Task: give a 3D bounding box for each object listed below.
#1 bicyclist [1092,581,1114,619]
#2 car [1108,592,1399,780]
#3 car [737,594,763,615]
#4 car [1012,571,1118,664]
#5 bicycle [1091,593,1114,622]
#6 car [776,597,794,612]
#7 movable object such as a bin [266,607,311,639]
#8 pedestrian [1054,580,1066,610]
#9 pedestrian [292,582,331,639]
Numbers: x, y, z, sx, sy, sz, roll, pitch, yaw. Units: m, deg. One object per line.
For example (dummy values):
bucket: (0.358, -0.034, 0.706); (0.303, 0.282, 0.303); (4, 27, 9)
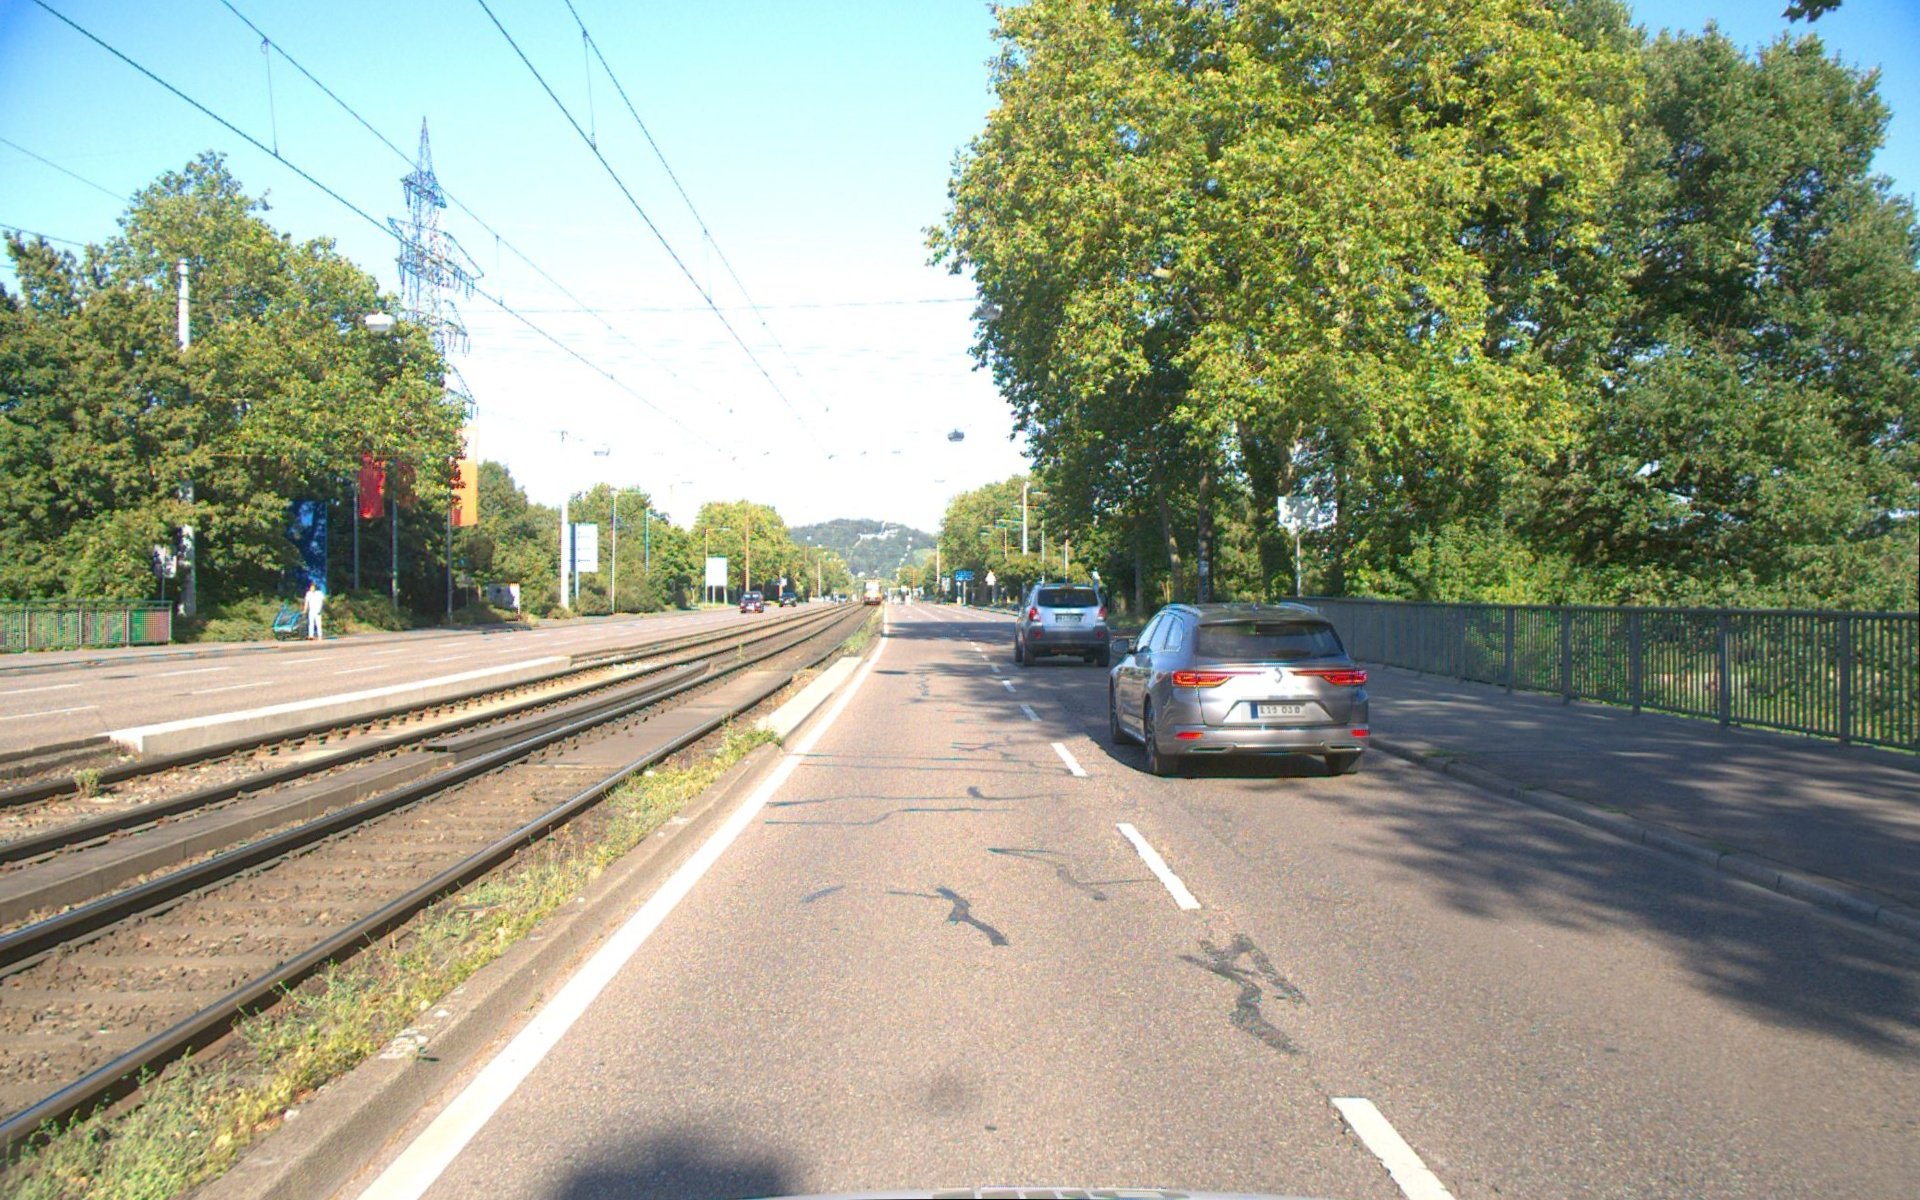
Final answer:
bicyclist: (5.797, 0.001, 67.257); (0.778, 1.485, 1.112); (-2, 1, 1)
car: (2.544, 0.678, 15.470); (1.828, 1.493, 4.665); (0, 0, -1)
car: (-17.835, 0.383, 140.491); (1.825, 1.750, 3.999); (0, 1, -2)
car: (2.195, 0.331, 35.630); (1.845, 1.827, 3.999); (2, 1, -2)
bicycle: (5.811, 0.307, 67.371); (0.778, 1.113, 1.895); (-2, 1, 2)
car: (-20.963, 0.533, 198.338); (1.868, 1.672, 3.997); (2, 1, -4)
movable object such as a bin: (-21.057, 0.724, 51.905); (0.709, 0.978, 1.101); (2, -1, 20)
pedestrian: (6.452, -0.315, 106.831); (0.613, 1.904, 0.623); (2, 1, -2)
pedestrian: (-20.720, 0.348, 52.818); (0.709, 1.787, 0.835); (2, -1, 20)
